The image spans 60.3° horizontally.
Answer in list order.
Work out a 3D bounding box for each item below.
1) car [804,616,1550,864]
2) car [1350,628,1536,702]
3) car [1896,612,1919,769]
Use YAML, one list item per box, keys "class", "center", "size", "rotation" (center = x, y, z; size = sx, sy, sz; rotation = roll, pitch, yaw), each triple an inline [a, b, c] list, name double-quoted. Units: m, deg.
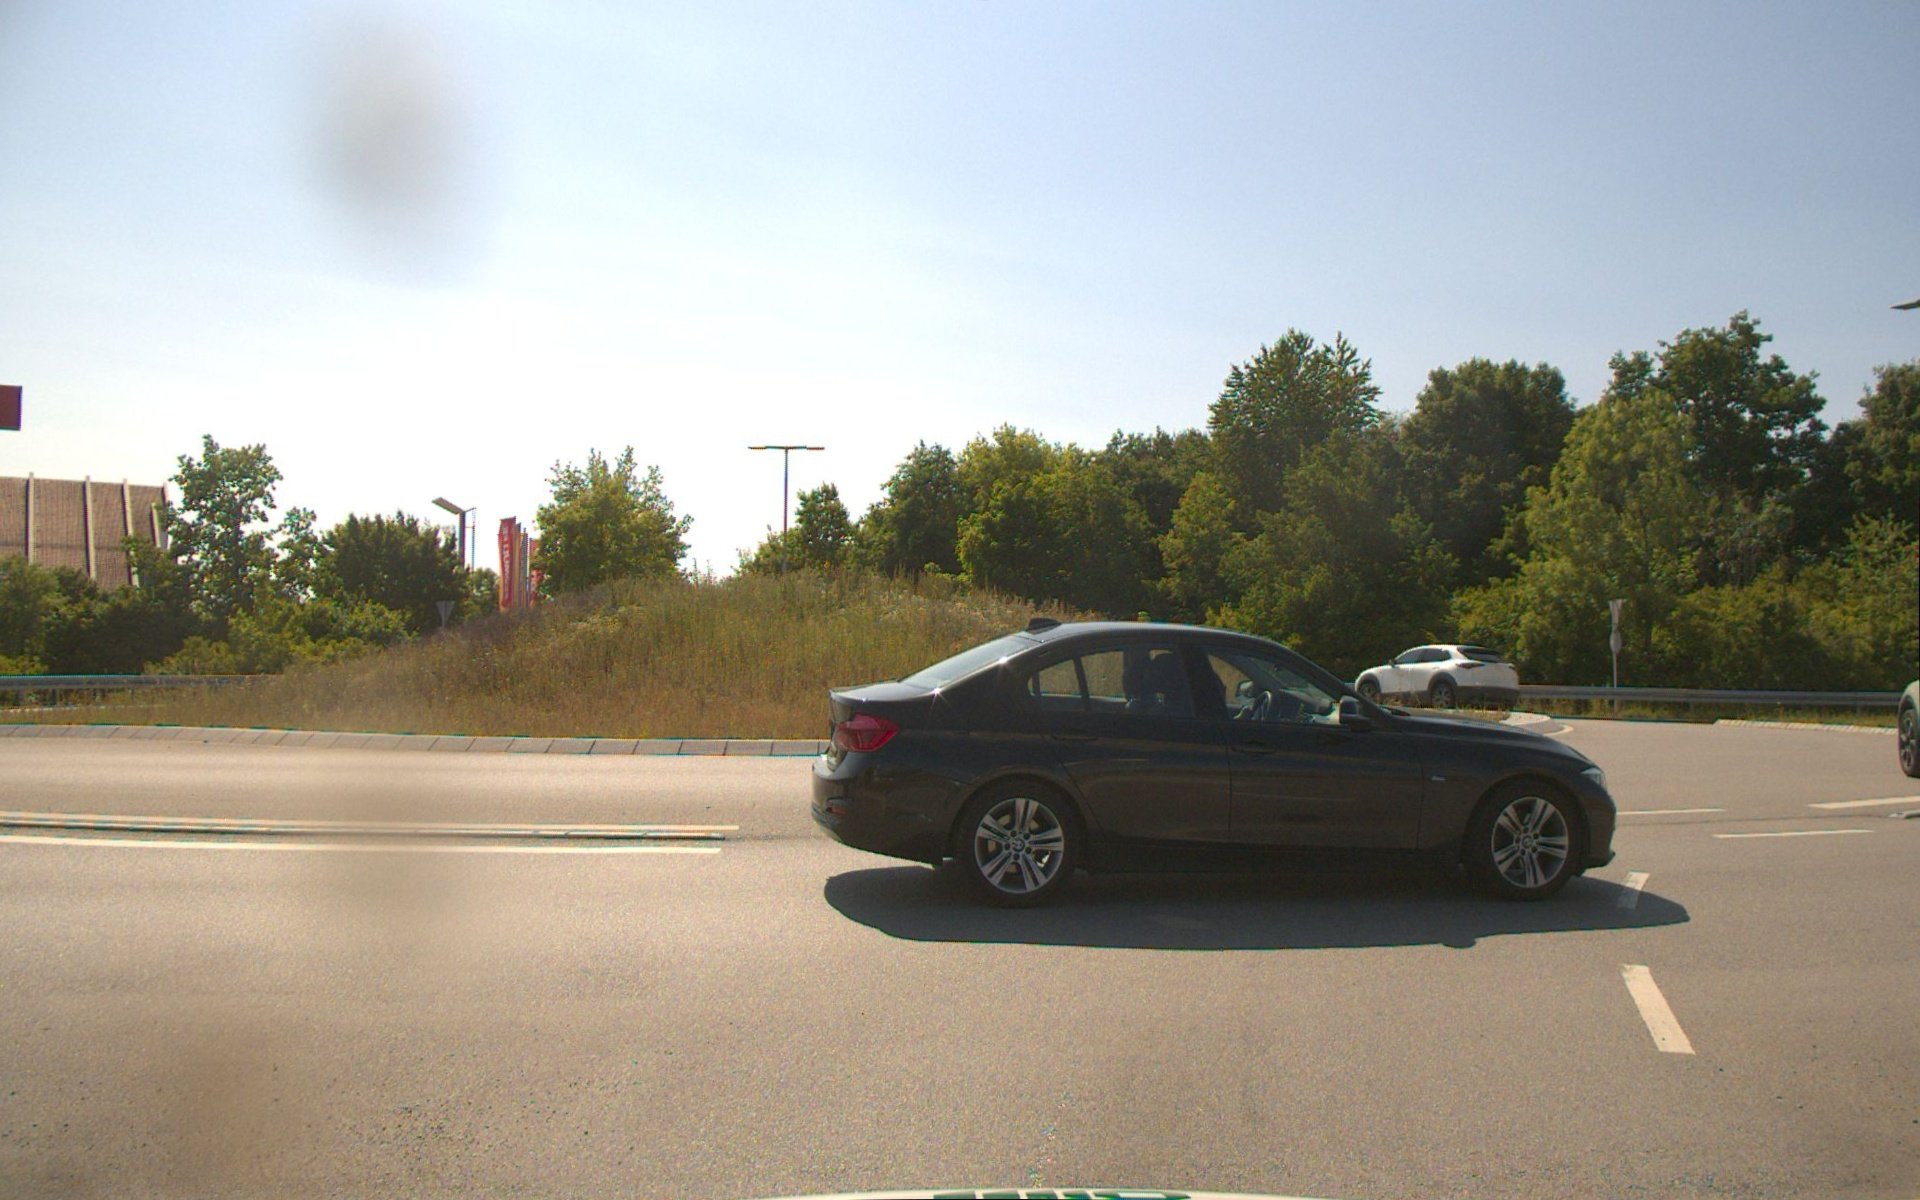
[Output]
- class: "car"
  center: [1.095, 0.736, 9.182]
  size: [3.782, 1.203, 1.673]
  rotation: [1, -1, -10]
- class: "car"
  center: [10.819, 1.477, 37.367]
  size: [1.761, 1.557, 4.257]
  rotation: [1, -3, -22]
- class: "car"
  center: [10.418, 0.919, 15.724]
  size: [1.802, 1.624, 4.326]
  rotation: [0, -1, 18]
